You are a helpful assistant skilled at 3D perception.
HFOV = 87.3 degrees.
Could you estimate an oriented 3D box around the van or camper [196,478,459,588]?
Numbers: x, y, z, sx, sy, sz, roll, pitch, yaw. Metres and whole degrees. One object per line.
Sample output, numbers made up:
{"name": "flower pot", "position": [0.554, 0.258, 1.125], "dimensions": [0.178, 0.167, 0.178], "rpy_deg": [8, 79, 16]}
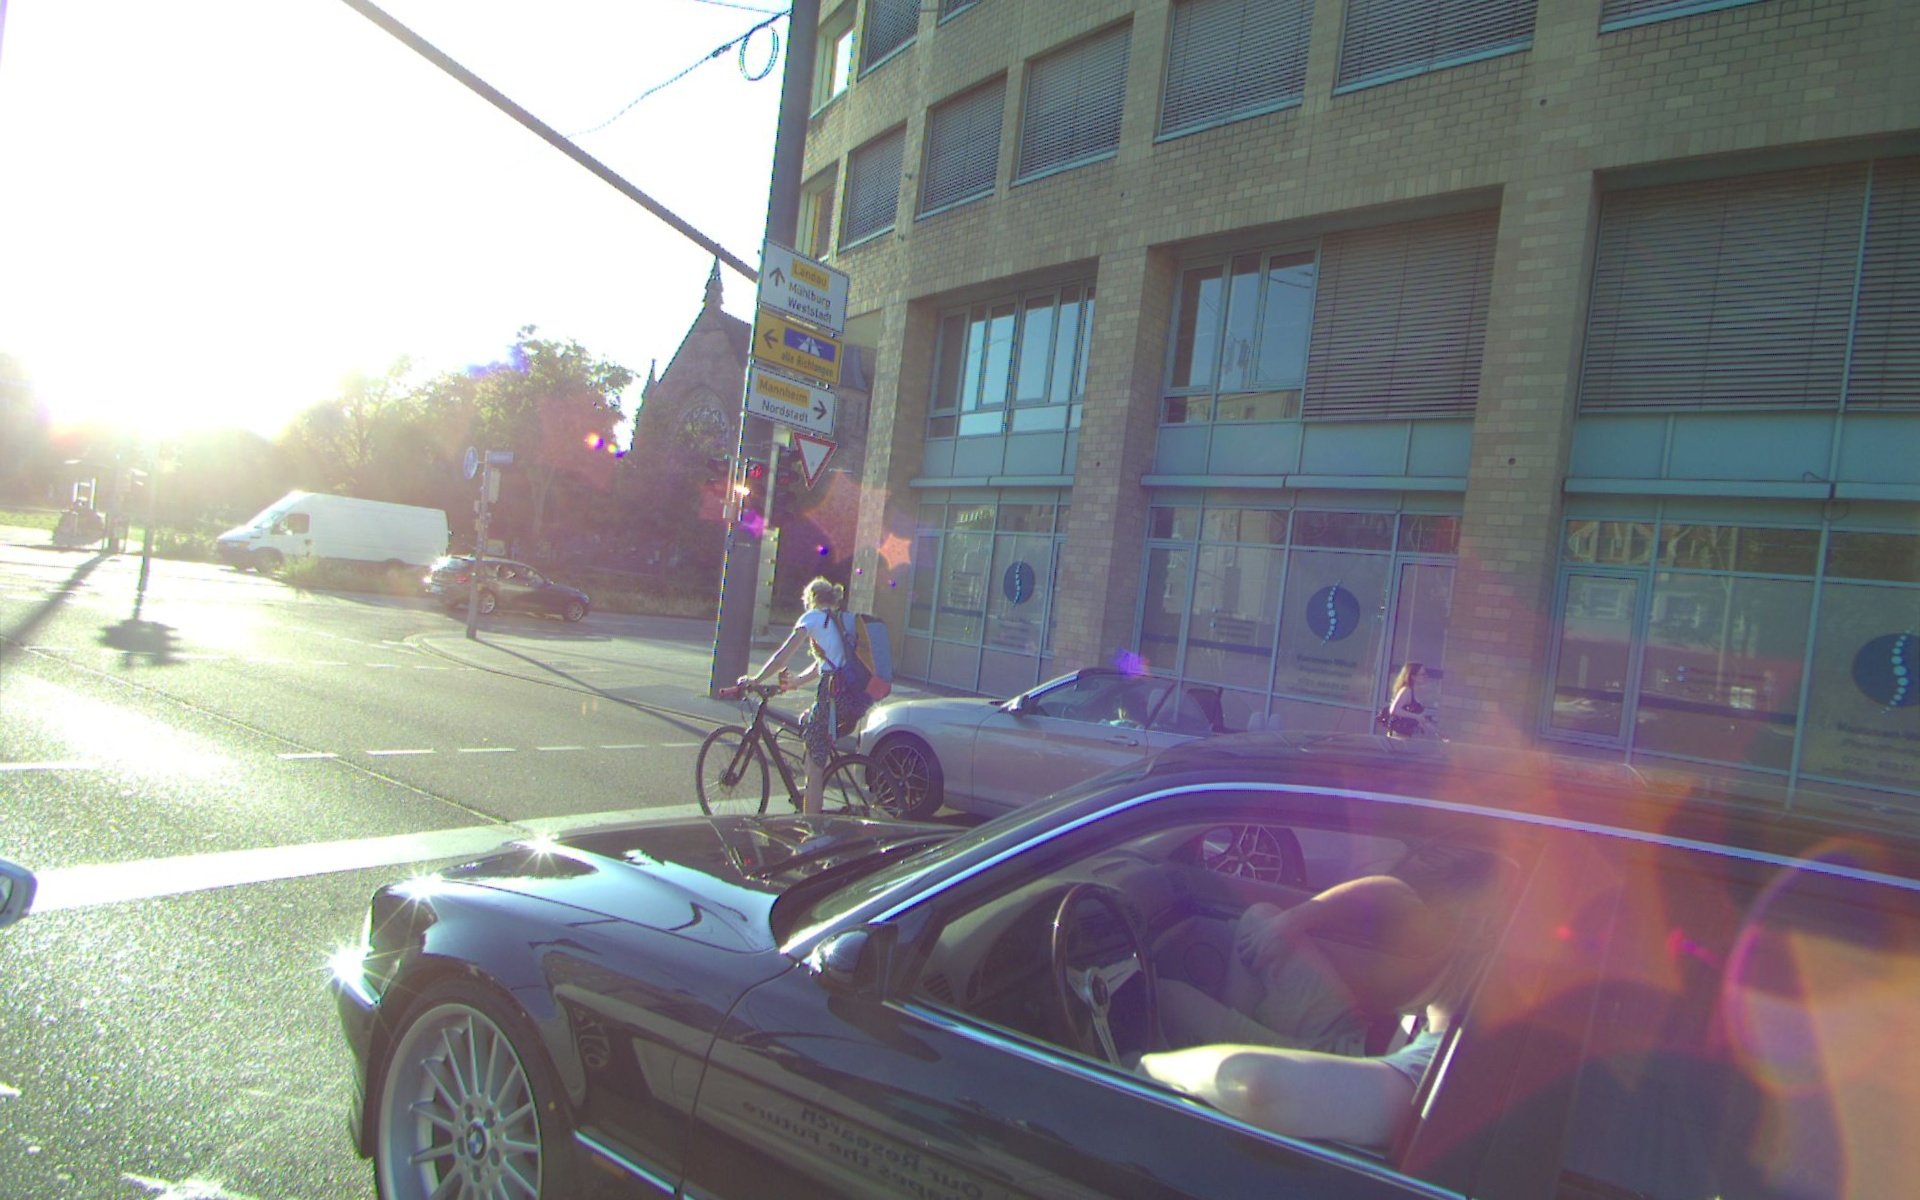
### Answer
{"name": "van or camper", "position": [-21.461, -2.180, 34.575], "dimensions": [2.556, 2.708, 7.048], "rpy_deg": [9, 1, 33]}

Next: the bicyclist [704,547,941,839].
{"name": "bicyclist", "position": [-0.806, 0.517, 5.927], "dimensions": [1.020, 1.501, 0.657], "rpy_deg": [7, -1, 29]}

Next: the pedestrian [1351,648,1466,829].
{"name": "pedestrian", "position": [4.402, 1.321, 9.864], "dimensions": [0.786, 1.589, 0.678], "rpy_deg": [9, 2, 29]}

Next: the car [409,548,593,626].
{"name": "car", "position": [-12.039, -0.303, 26.604], "dimensions": [1.691, 1.451, 3.989], "rpy_deg": [9, 0, 36]}

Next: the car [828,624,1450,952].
{"name": "car", "position": [1.261, 1.191, 7.677], "dimensions": [4.195, 1.370, 1.786], "rpy_deg": [8, 0, 31]}

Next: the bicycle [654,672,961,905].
{"name": "bicycle", "position": [-0.936, 1.052, 5.972], "dimensions": [1.745, 0.966, 0.516], "rpy_deg": [8, 0, 30]}

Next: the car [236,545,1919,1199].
{"name": "car", "position": [0.839, 0.900, 1.897], "dimensions": [4.563, 1.370, 1.833], "rpy_deg": [8, 0, 31]}
